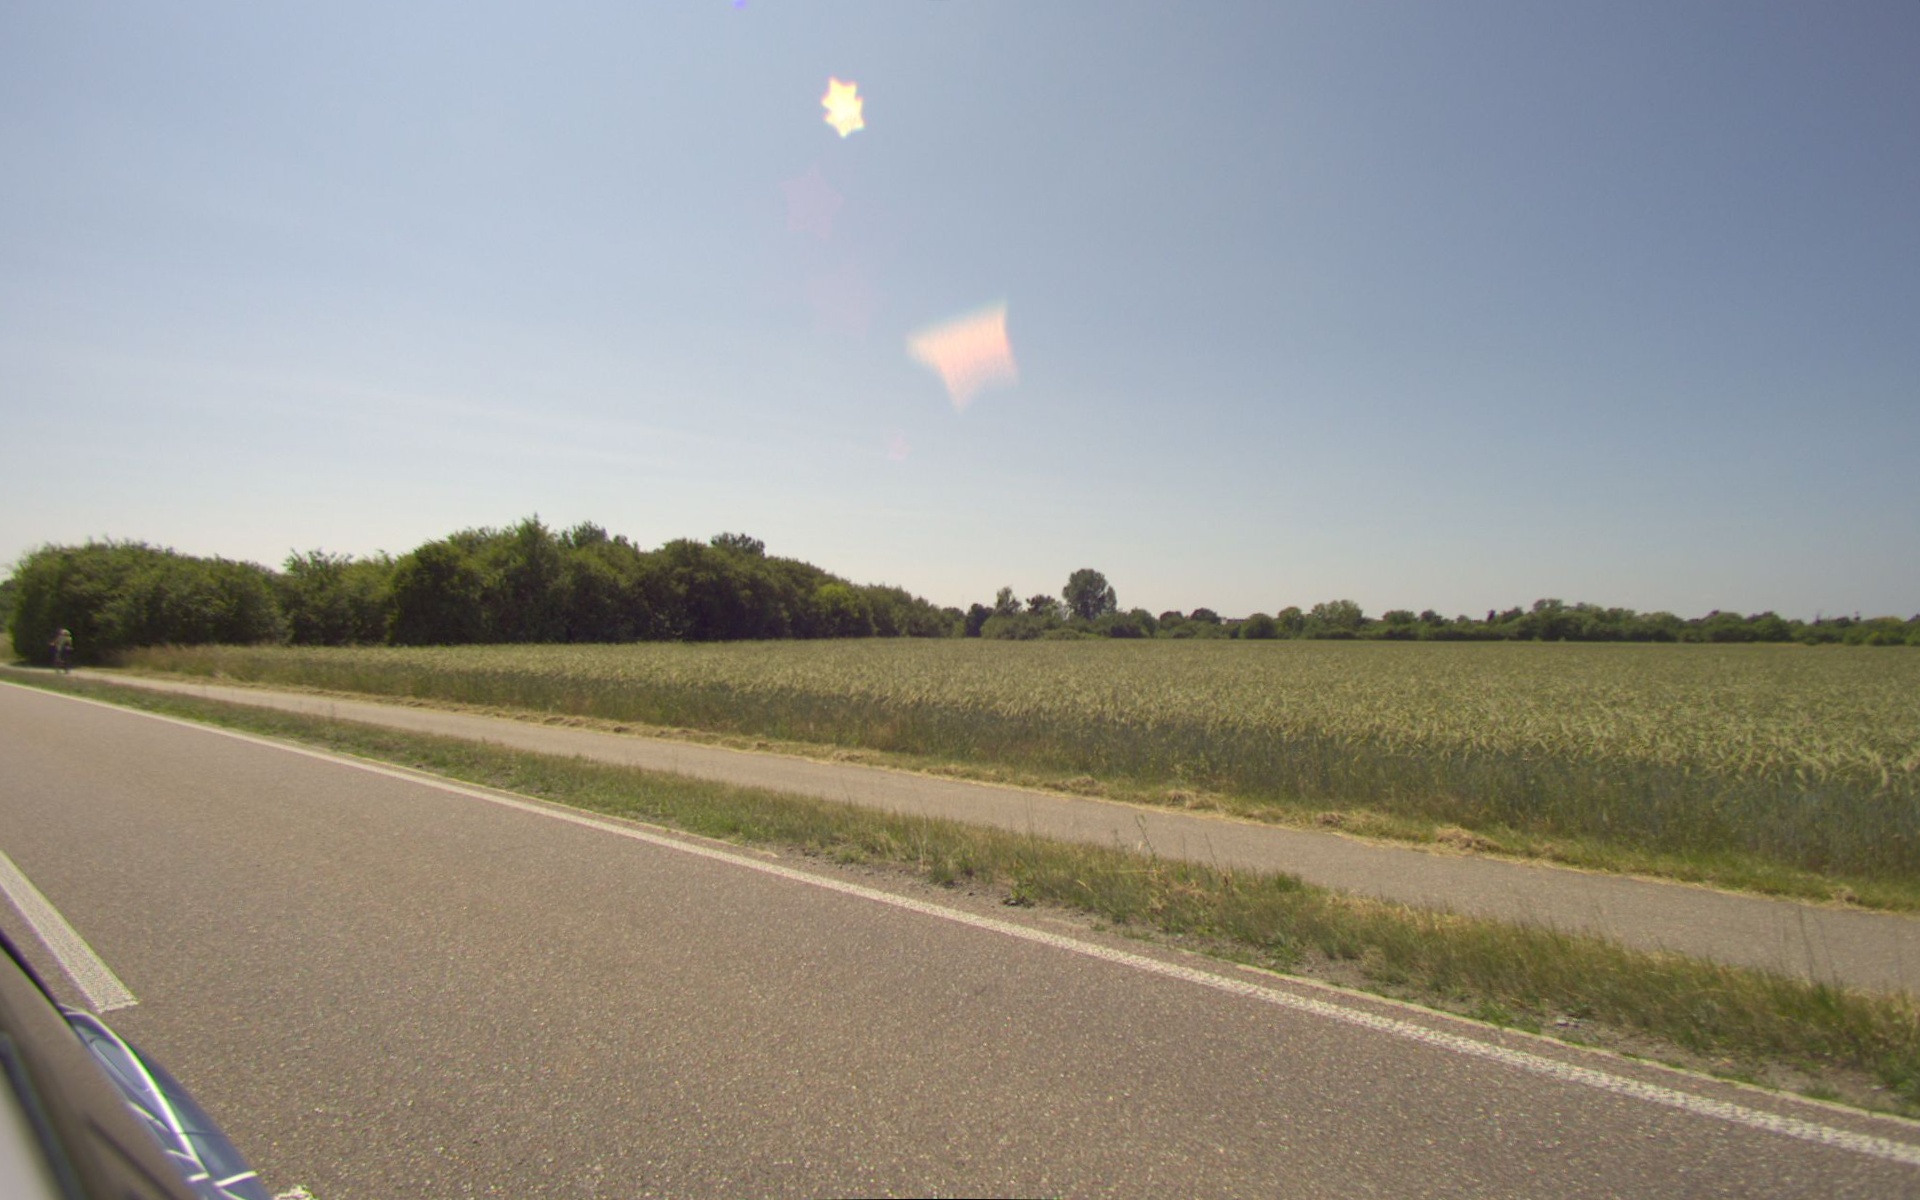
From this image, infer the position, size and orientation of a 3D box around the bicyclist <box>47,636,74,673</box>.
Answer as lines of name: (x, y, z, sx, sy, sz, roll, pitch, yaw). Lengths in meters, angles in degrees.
bicyclist: (-35.669, 2.151, 40.127, 0.821, 1.449, 0.657, -1, -1, 38)

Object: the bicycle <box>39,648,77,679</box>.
bicycle: (-35.691, 2.499, 40.048, 1.959, 1.185, 0.688, -2, -3, 36)
